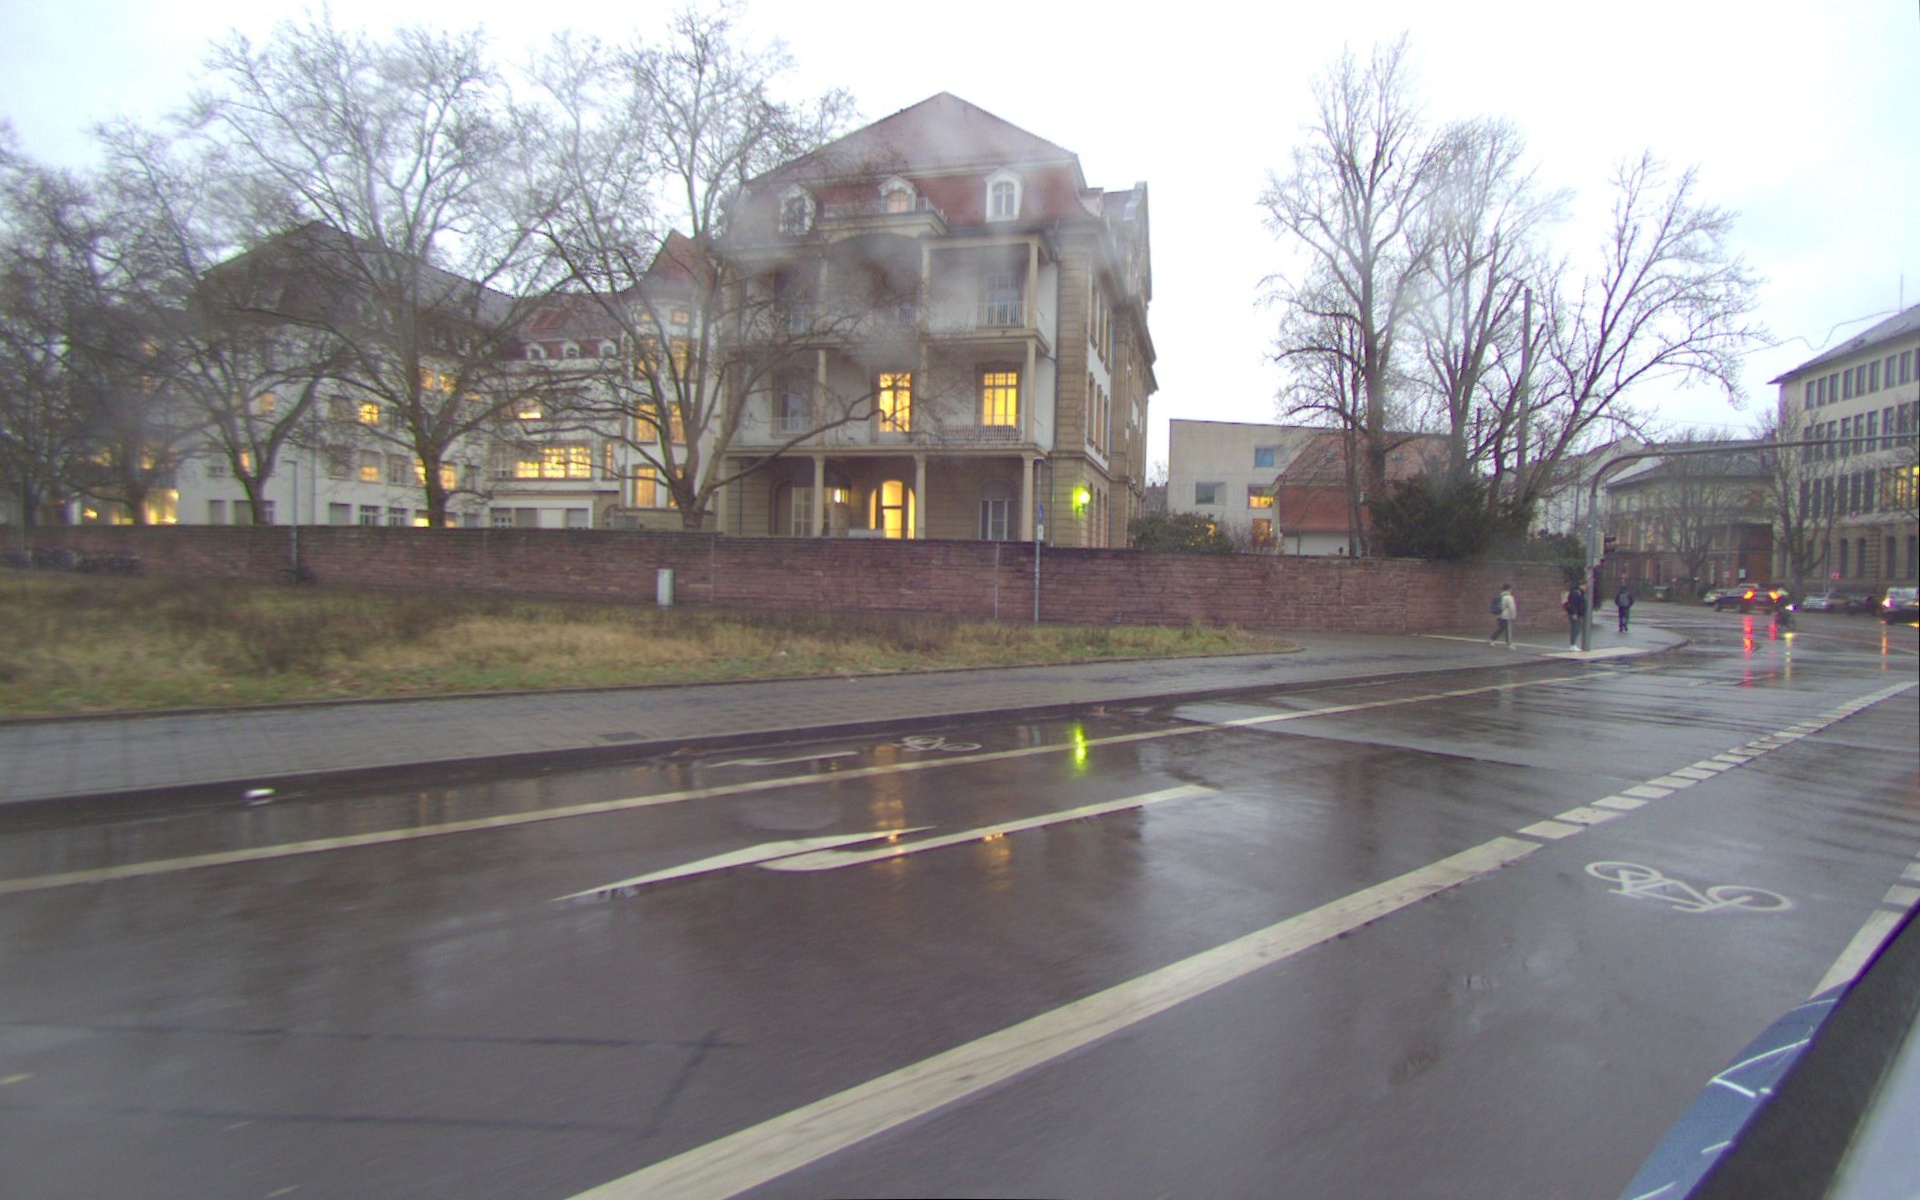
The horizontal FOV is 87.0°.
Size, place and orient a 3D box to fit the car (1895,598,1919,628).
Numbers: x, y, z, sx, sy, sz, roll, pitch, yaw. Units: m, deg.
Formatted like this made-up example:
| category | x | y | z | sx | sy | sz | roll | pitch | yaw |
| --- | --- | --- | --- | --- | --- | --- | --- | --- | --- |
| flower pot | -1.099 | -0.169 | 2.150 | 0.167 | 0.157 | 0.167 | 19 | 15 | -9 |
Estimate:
| category | x | y | z | sx | sy | sz | roll | pitch | yaw |
| --- | --- | --- | --- | --- | --- | --- | --- | --- | --- |
| car | 47.869 | 0.739 | 49.090 | 1.727 | 1.395 | 4.348 | 3 | 3 | 14 |

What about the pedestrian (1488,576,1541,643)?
| category | x | y | z | sx | sy | sz | roll | pitch | yaw |
| --- | --- | --- | --- | --- | --- | --- | --- | --- | --- |
| pedestrian | 14.672 | 0.240 | 26.816 | 0.947 | 1.696 | 0.777 | 2 | 2 | 11 |

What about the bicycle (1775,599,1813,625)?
| category | x | y | z | sx | sy | sz | roll | pitch | yaw |
| --- | --- | --- | --- | --- | --- | --- | --- | --- | --- |
| bicycle | 36.477 | 0.501 | 44.284 | 0.717 | 1.104 | 2.265 | 1 | 0 | 25 |

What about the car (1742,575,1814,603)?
| category | x | y | z | sx | sy | sz | roll | pitch | yaw |
| --- | --- | --- | --- | --- | --- | --- | --- | --- | --- |
| car | 63.861 | -0.894 | 79.041 | 4.526 | 2.079 | 1.970 | -1 | 2 | -12 |

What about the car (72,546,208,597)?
| category | x | y | z | sx | sy | sz | roll | pitch | yaw |
| --- | --- | --- | --- | --- | --- | --- | --- | --- | --- |
| car | -17.413 | -0.622 | 21.617 | 1.275 | 0.989 | 2.688 | 2 | 2 | -16 |

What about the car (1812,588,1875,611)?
| category | x | y | z | sx | sy | sz | roll | pitch | yaw |
| --- | --- | --- | --- | --- | --- | --- | --- | --- | --- |
| car | 62.058 | -0.027 | 71.080 | 3.747 | 1.475 | 1.641 | -2 | 2 | -19 |

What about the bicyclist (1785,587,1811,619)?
| category | x | y | z | sx | sy | sz | roll | pitch | yaw |
| --- | --- | --- | --- | --- | --- | --- | --- | --- | --- |
| bicyclist | 36.573 | 0.107 | 44.166 | 0.710 | 1.359 | 0.713 | 0 | 2 | 27 |

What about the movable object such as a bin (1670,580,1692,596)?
| category | x | y | z | sx | sy | sz | roll | pitch | yaw |
| --- | --- | --- | --- | --- | --- | --- | --- | --- | --- |
| movable object such as a bin | 67.856 | -1.168 | 95.229 | 0.966 | 1.482 | 1.347 | -2 | 2 | -22 |

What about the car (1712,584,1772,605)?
| category | x | y | z | sx | sy | sz | roll | pitch | yaw |
| --- | --- | --- | --- | --- | --- | --- | --- | --- | --- |
| car | 65.046 | -0.495 | 84.178 | 4.097 | 1.610 | 1.779 | -2 | 2 | -14 |

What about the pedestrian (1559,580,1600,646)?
| category | x | y | z | sx | sy | sz | roll | pitch | yaw |
| --- | --- | --- | --- | --- | --- | --- | --- | --- | --- |
| pedestrian | 16.534 | 0.327 | 27.017 | 0.788 | 1.696 | 0.720 | 4 | 3 | 36 |

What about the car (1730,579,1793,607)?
| category | x | y | z | sx | sy | sz | roll | pitch | yaw |
| --- | --- | --- | --- | --- | --- | --- | --- | --- | --- |
| car | 51.721 | -0.484 | 65.416 | 1.738 | 1.682 | 4.501 | 3 | 3 | 20 |

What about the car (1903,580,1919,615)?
| category | x | y | z | sx | sy | sz | roll | pitch | yaw |
| --- | --- | --- | --- | --- | --- | --- | --- | --- | --- |
| car | 58.760 | -0.198 | 60.370 | 4.704 | 2.058 | 1.917 | -2 | 2 | -23 |

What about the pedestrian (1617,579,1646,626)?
| category | x | y | z | sx | sy | sz | roll | pitch | yaw |
| --- | --- | --- | --- | --- | --- | --- | --- | --- | --- |
| pedestrian | 25.300 | 0.069 | 38.127 | 0.802 | 1.705 | 1.143 | 4 | 2 | 33 |
